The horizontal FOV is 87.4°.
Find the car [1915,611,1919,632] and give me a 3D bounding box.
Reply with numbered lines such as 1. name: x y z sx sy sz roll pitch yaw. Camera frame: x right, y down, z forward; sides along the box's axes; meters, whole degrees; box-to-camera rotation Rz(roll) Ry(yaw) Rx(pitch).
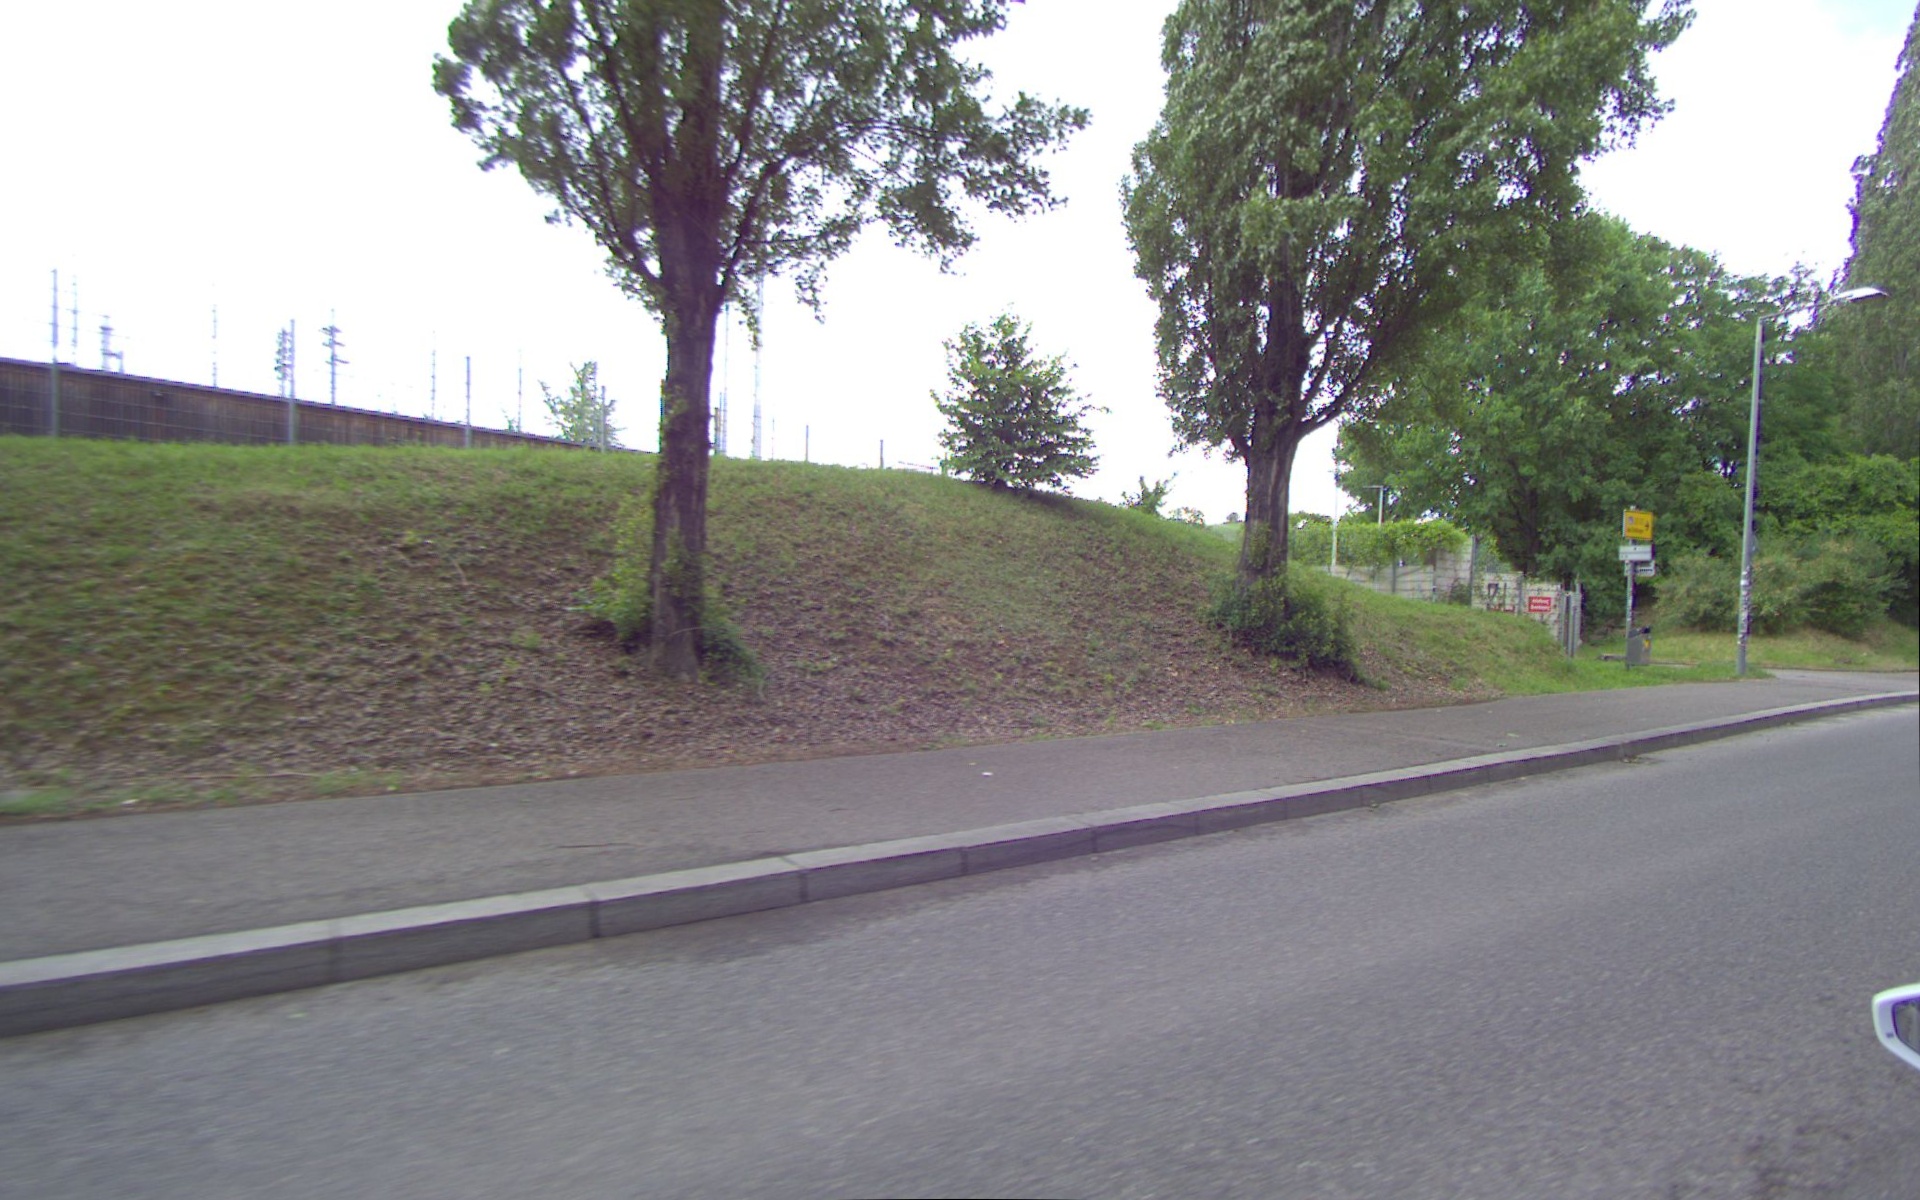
1. car: 70.279 1.554 70.682 4.557 1.454 1.999 1 -1 -5

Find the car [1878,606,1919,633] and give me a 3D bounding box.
1. car: 72.792 1.460 76.460 4.220 1.824 1.845 -4 0 -5

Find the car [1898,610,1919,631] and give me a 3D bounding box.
1. car: 71.748 1.517 74.029 3.815 1.494 1.792 1 0 -6
